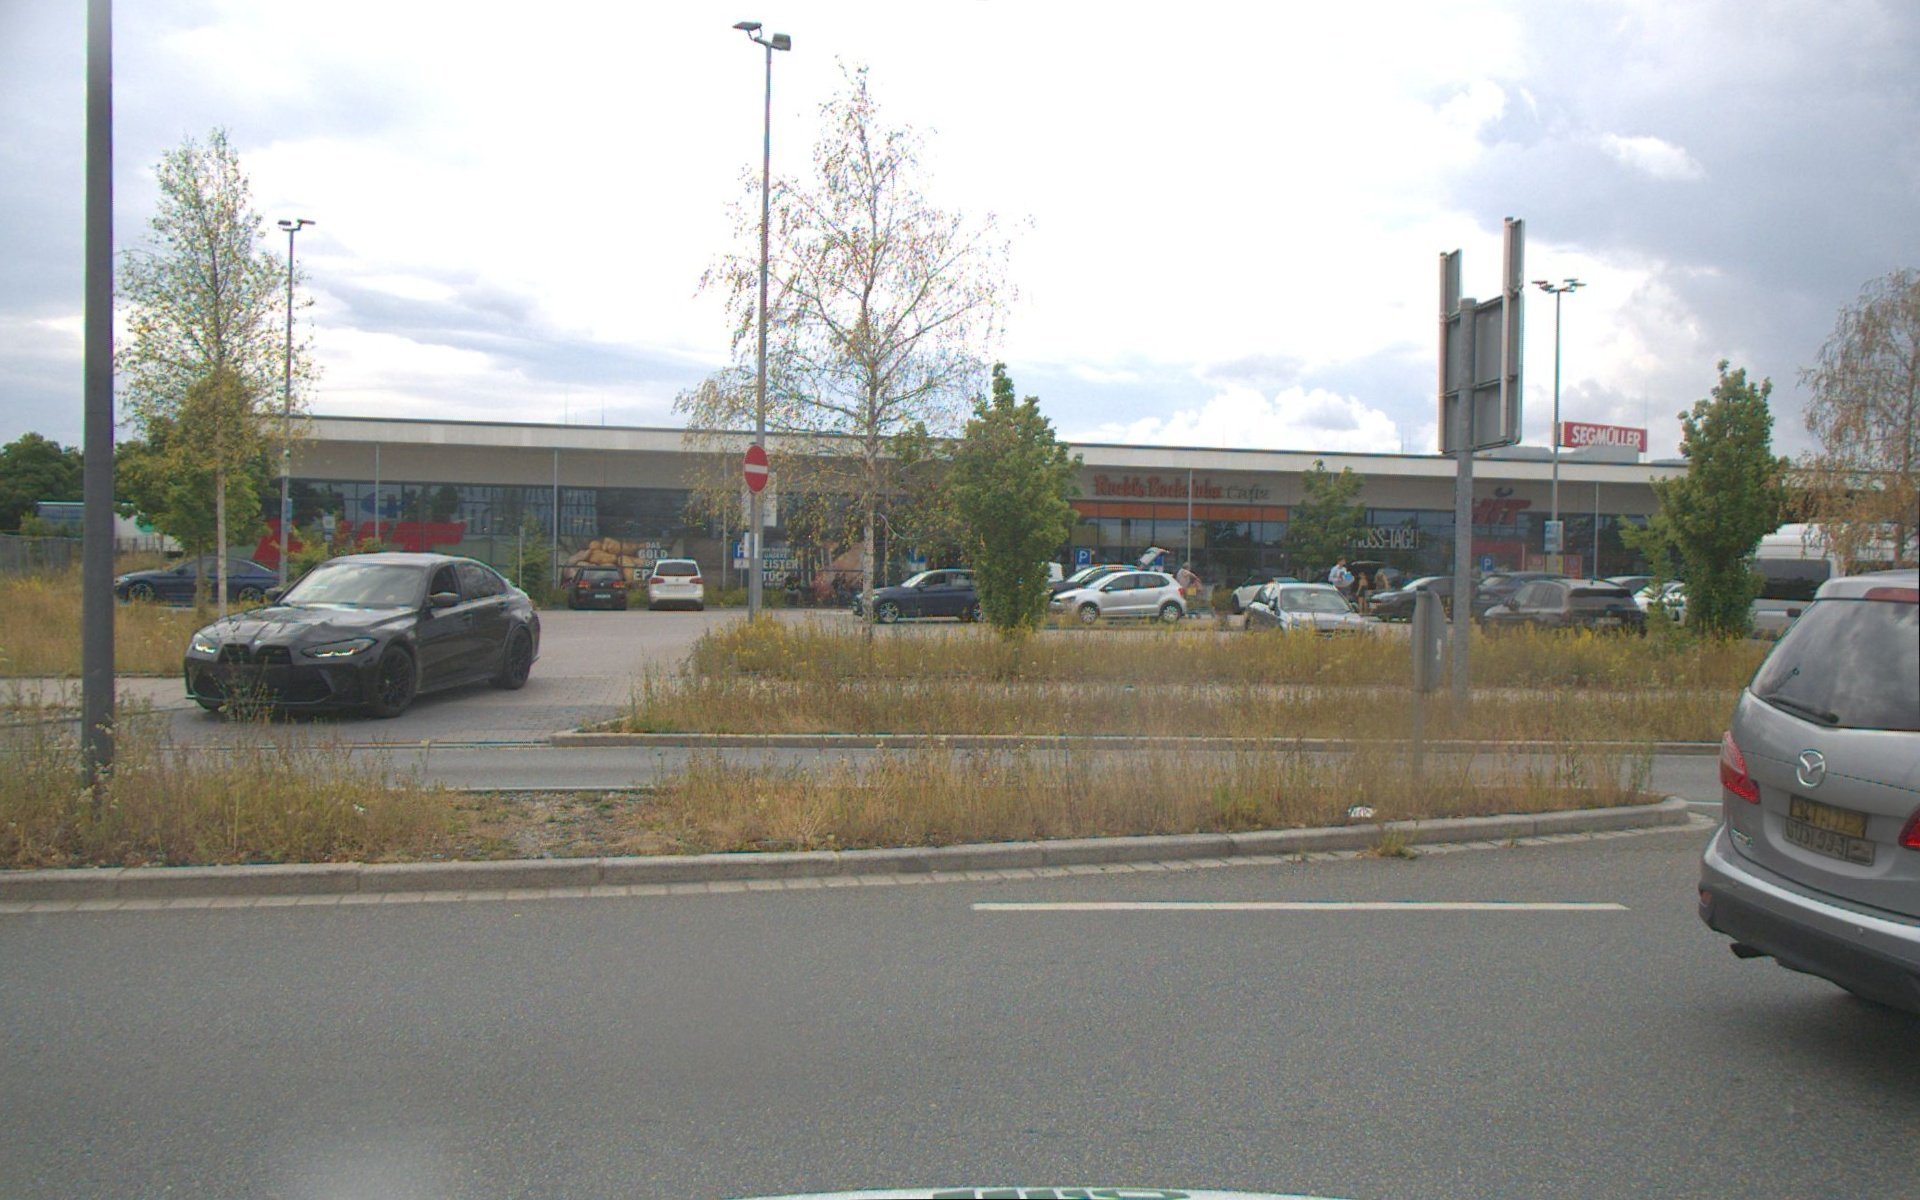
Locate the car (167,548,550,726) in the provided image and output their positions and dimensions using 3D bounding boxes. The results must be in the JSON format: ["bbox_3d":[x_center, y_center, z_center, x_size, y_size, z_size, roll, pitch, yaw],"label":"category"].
[{"bbox_3d":[-5.753,0.240,16.524,1.742,1.470,4.614,1,2,6],"label":"car"}]

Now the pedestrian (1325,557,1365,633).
[{"bbox_3d":[10.655,-0.155,45.753,0.979,2.048,0.868,1,1,18],"label":"pedestrian"}]

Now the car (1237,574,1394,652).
[{"bbox_3d":[6.882,0.216,32.473,1.949,1.408,4.147,1,1,-3],"label":"car"}]

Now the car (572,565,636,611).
[{"bbox_3d":[-12.090,-0.438,56.434,1.871,1.469,3.993,1,1,-9],"label":"car"}]

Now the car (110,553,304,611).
[{"bbox_3d":[-22.185,-0.529,48.953,4.926,1.585,1.992,1,1,-16],"label":"car"}]

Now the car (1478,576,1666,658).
[{"bbox_3d":[11.888,0.291,32.435,1.949,1.476,4.147,1,1,-3],"label":"car"}]

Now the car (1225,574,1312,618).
[{"bbox_3d":[11.471,-0.172,61.815,1.957,1.534,3.992,1,1,-9],"label":"car"}]

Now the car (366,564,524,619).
[{"bbox_3d":[-13.922,-0.238,44.925,3.919,1.375,1.993,1,1,-14],"label":"car"}]

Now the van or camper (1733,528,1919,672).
[{"bbox_3d":[16.760,-0.018,31.544,2.235,2.536,4.001,1,1,2],"label":"van or camper"}]

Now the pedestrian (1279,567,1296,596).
[{"bbox_3d":[13.745,-0.785,69.414,0.550,1.222,0.527,0,1,-11],"label":"pedestrian"}]

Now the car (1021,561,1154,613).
[{"bbox_3d":[3.818,-0.387,49.733,3.680,1.479,1.663,1,1,-12],"label":"car"}]

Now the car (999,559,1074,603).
[{"bbox_3d":[2.744,-0.712,59.979,1.957,1.534,3.992,1,1,-9],"label":"car"}]

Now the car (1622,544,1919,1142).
[{"bbox_3d":[4.667,0.654,5.381,4.302,1.590,1.819,1,2,-6],"label":"car"}]

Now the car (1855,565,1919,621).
[{"bbox_3d":[33.262,-0.210,56.663,4.339,1.850,1.993,1,0,-14],"label":"car"}]

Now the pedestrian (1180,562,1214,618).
[{"bbox_3d":[7.137,-0.316,49.872,0.806,1.660,0.898,1,0,-6],"label":"pedestrian"}]

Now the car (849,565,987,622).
[{"bbox_3d":[-1.175,-0.188,45.304,3.544,1.479,1.663,1,1,-13],"label":"car"}]

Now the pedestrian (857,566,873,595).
[{"bbox_3d":[-3.808,-0.798,66.337,0.566,1.143,0.560,0,1,-15],"label":"pedestrian"}]

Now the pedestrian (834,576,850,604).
[{"bbox_3d":[-4.783,-0.402,66.946,0.566,1.143,0.560,0,1,-15],"label":"pedestrian"}]

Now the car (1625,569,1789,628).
[{"bbox_3d":[21.878,-0.060,48.566,3.907,1.646,1.999,1,1,-3],"label":"car"}]

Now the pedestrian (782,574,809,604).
[{"bbox_3d":[-6.682,-0.438,67.160,0.954,1.174,1.129,1,1,-13],"label":"pedestrian"}]

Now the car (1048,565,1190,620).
[{"bbox_3d":[4.486,-0.212,46.796,3.680,1.479,1.663,1,1,-12],"label":"car"}]

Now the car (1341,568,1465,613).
[{"bbox_3d":[16.180,-0.364,60.485,3.914,1.534,1.996,1,1,-10],"label":"car"}]

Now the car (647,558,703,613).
[{"bbox_3d":[-9.799,-0.539,57.072,1.790,1.729,4.226,1,2,-9],"label":"car"}]

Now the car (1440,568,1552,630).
[{"bbox_3d":[15.397,-0.068,47.736,1.778,1.682,3.998,1,1,-3],"label":"car"}]
